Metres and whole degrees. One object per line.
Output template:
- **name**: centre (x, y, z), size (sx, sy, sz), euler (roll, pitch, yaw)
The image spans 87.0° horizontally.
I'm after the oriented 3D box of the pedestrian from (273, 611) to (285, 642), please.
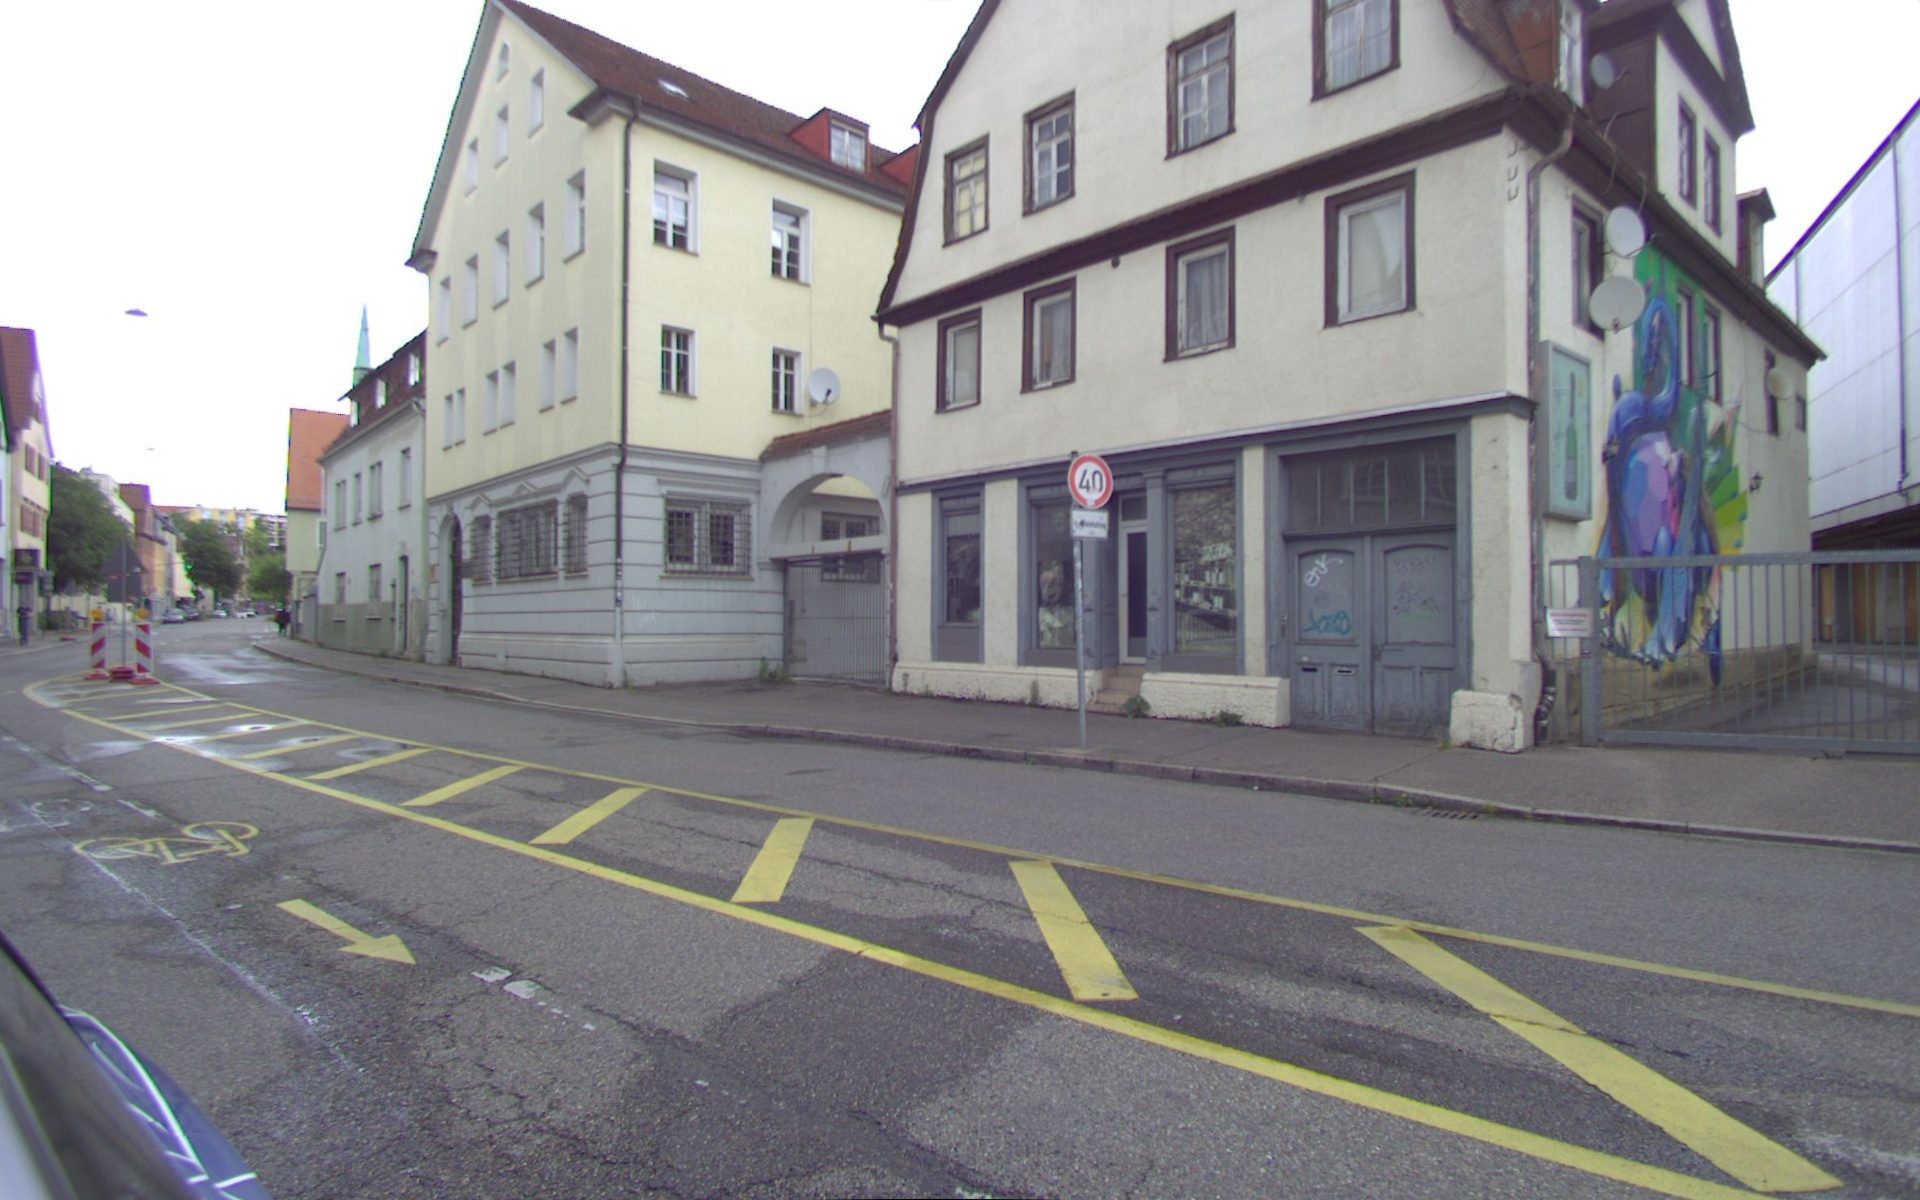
- **pedestrian**: centre (-40.583, 1.584, 60.340), size (0.583, 1.793, 0.506), euler (1, -2, -33)
